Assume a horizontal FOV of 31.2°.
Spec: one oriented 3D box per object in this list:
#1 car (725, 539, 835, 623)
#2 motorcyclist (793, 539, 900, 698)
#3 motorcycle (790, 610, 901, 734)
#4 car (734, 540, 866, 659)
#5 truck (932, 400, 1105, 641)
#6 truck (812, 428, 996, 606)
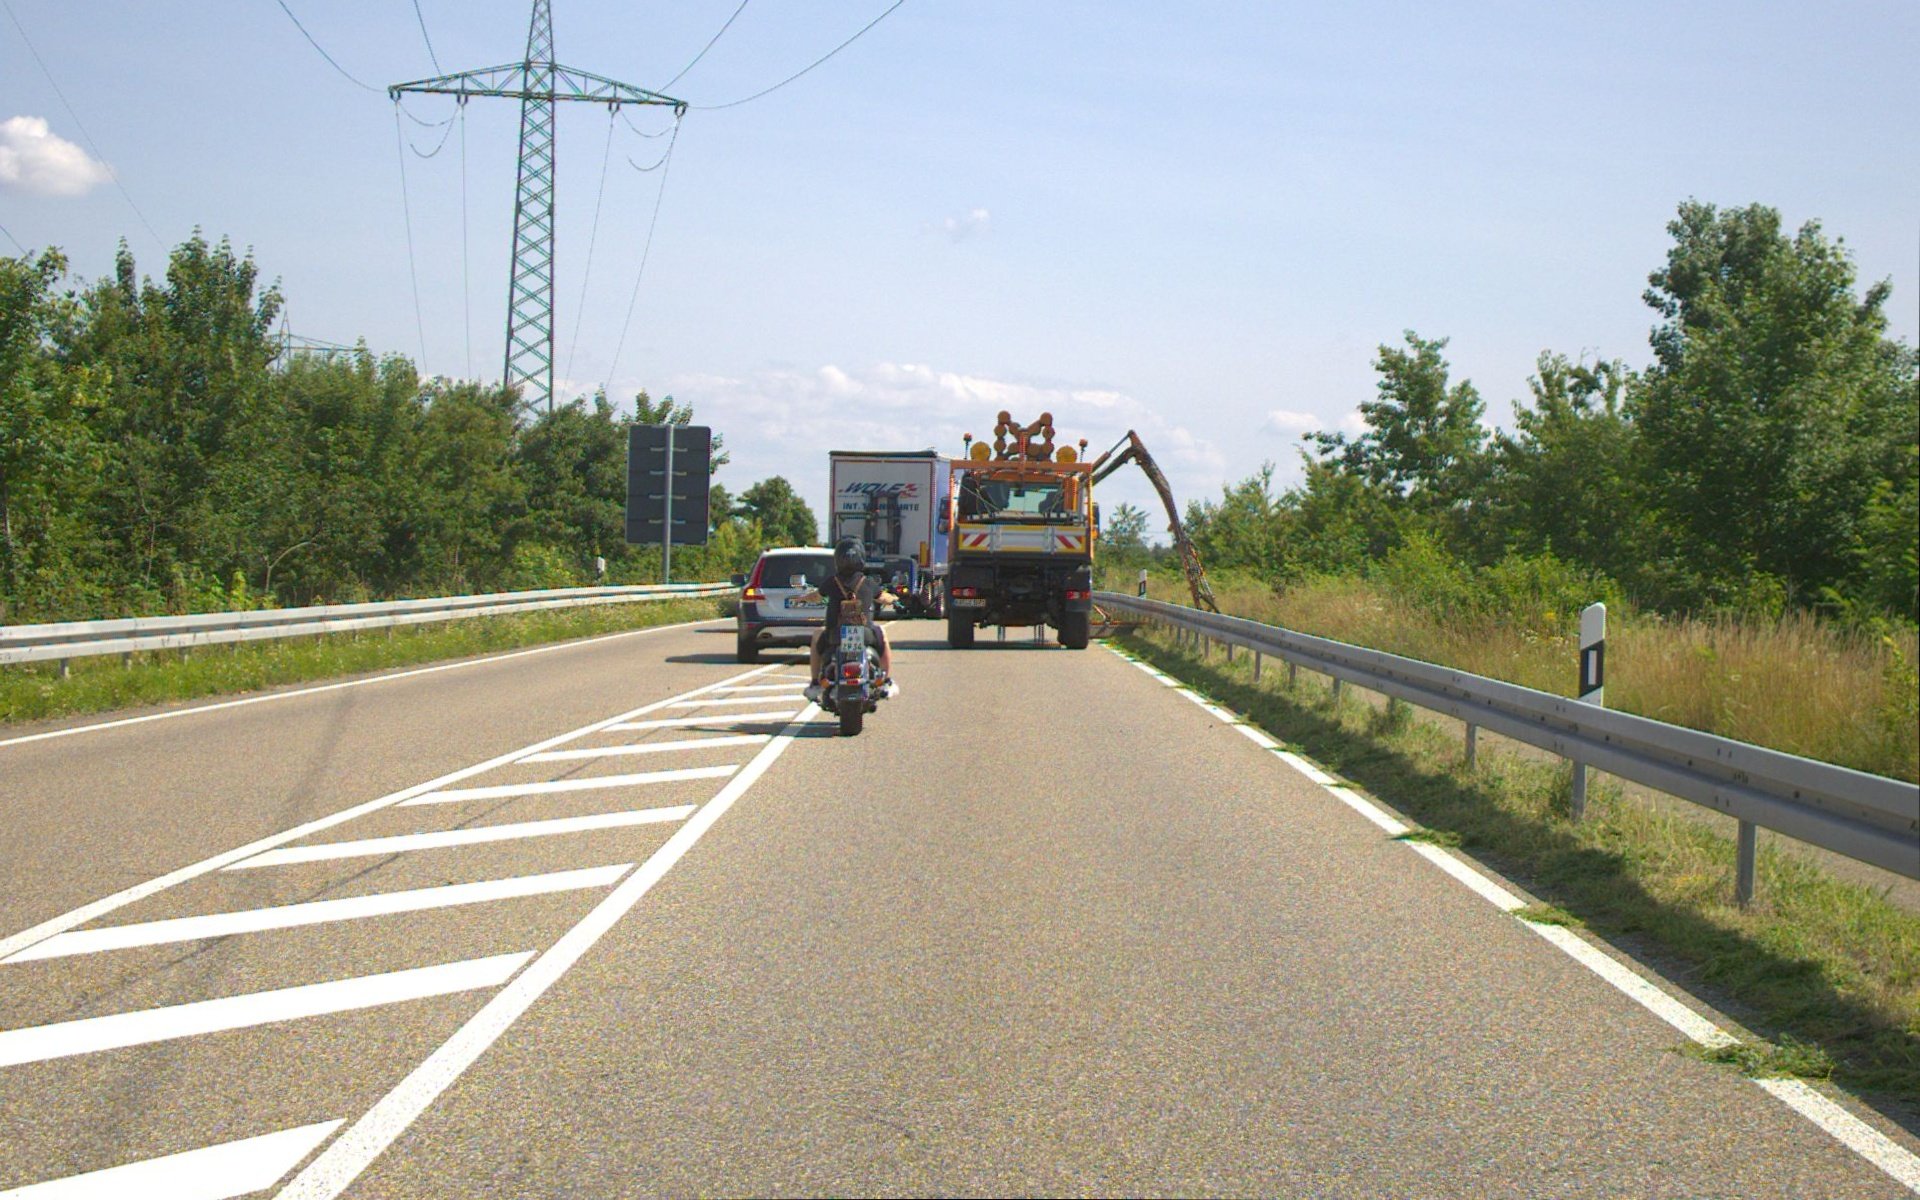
[{"bbox_3d":[-3.345,-0.379,64.461,1.855,1.484,3.740,1,1,0],"label":"car"},{"bbox_3d":[-0.927,0.142,28.231,0.837,1.276,0.919,1,1,-1],"label":"motorcyclist"},{"bbox_3d":[-0.925,0.570,28.150,0.859,0.912,2.228,1,1,-1],"label":"motorcycle"},{"bbox_3d":[-2.195,-0.039,46.925,1.701,1.531,3.499,1,1,-3],"label":"car"},{"bbox_3d":[0.958,-1.293,56.774,2.614,3.698,6.777,1,1,1],"label":"truck"},{"bbox_3d":[-1.256,-2.094,89.084,2.968,4.172,14.819,1,1,6],"label":"truck"}]
